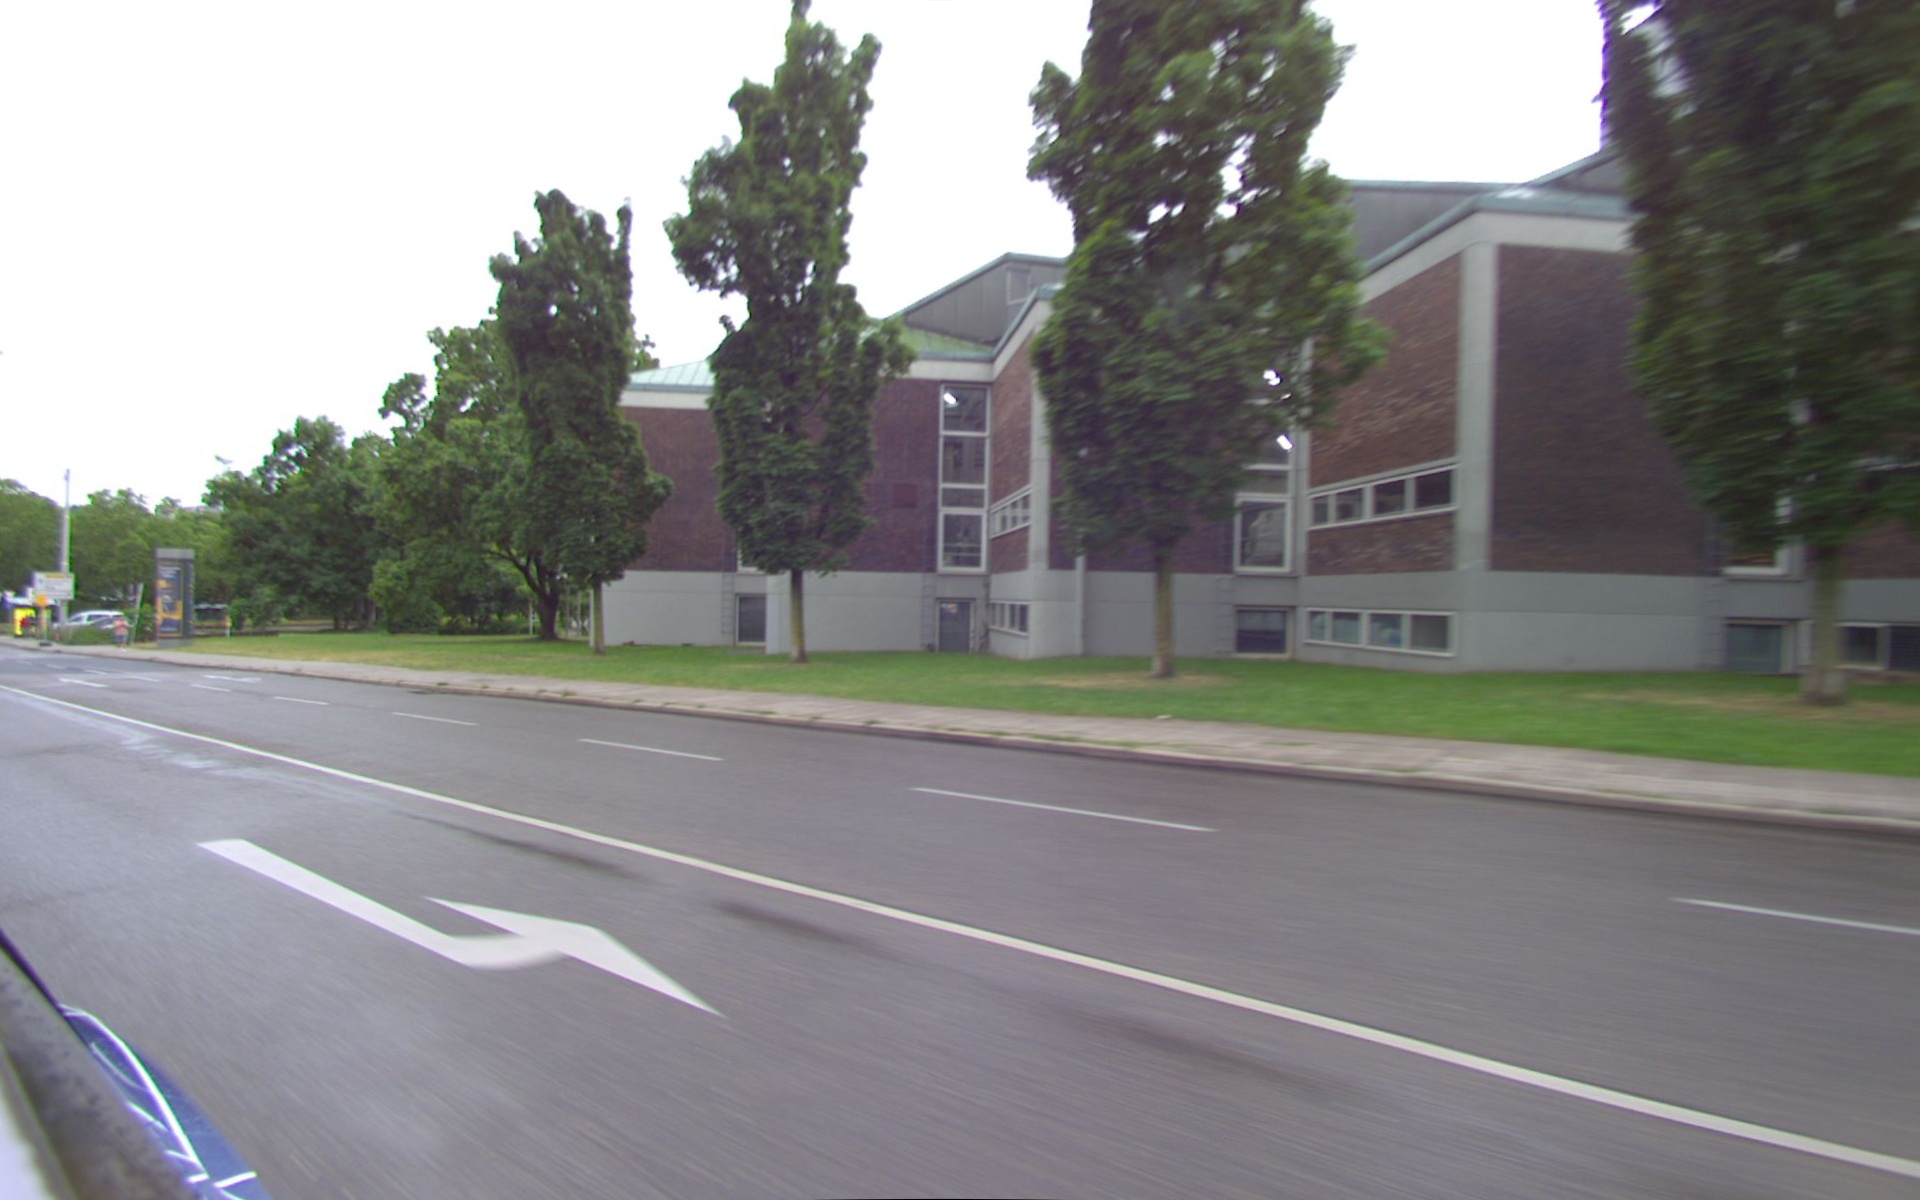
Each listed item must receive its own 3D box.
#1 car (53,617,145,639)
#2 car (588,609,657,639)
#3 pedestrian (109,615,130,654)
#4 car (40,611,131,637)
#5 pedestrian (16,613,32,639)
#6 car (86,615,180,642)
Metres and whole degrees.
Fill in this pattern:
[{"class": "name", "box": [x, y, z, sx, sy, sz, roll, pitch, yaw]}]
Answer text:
[{"class": "car", "box": [-57.950, 1.881, 68.213, 4.304, 1.359, 1.911, -1, 1, -21]}, {"class": "car", "box": [-33.887, 2.359, 101.740, 2.739, 2.782, 6.126, 0, 1, 42]}, {"class": "pedestrian", "box": [-38.104, 1.554, 45.889, 0.662, 1.699, 0.914, -1, 0, -44]}, {"class": "car", "box": [-63.388, 1.723, 73.434, 4.647, 1.768, 2.020, -1, 0, -9]}, {"class": "pedestrian", "box": [-63.794, 1.758, 68.983, 0.641, 1.708, 0.622, 0, 0, 31]}, {"class": "car", "box": [-50.805, 1.740, 62.234, 4.470, 1.621, 1.866, 0, 0, 6]}]
